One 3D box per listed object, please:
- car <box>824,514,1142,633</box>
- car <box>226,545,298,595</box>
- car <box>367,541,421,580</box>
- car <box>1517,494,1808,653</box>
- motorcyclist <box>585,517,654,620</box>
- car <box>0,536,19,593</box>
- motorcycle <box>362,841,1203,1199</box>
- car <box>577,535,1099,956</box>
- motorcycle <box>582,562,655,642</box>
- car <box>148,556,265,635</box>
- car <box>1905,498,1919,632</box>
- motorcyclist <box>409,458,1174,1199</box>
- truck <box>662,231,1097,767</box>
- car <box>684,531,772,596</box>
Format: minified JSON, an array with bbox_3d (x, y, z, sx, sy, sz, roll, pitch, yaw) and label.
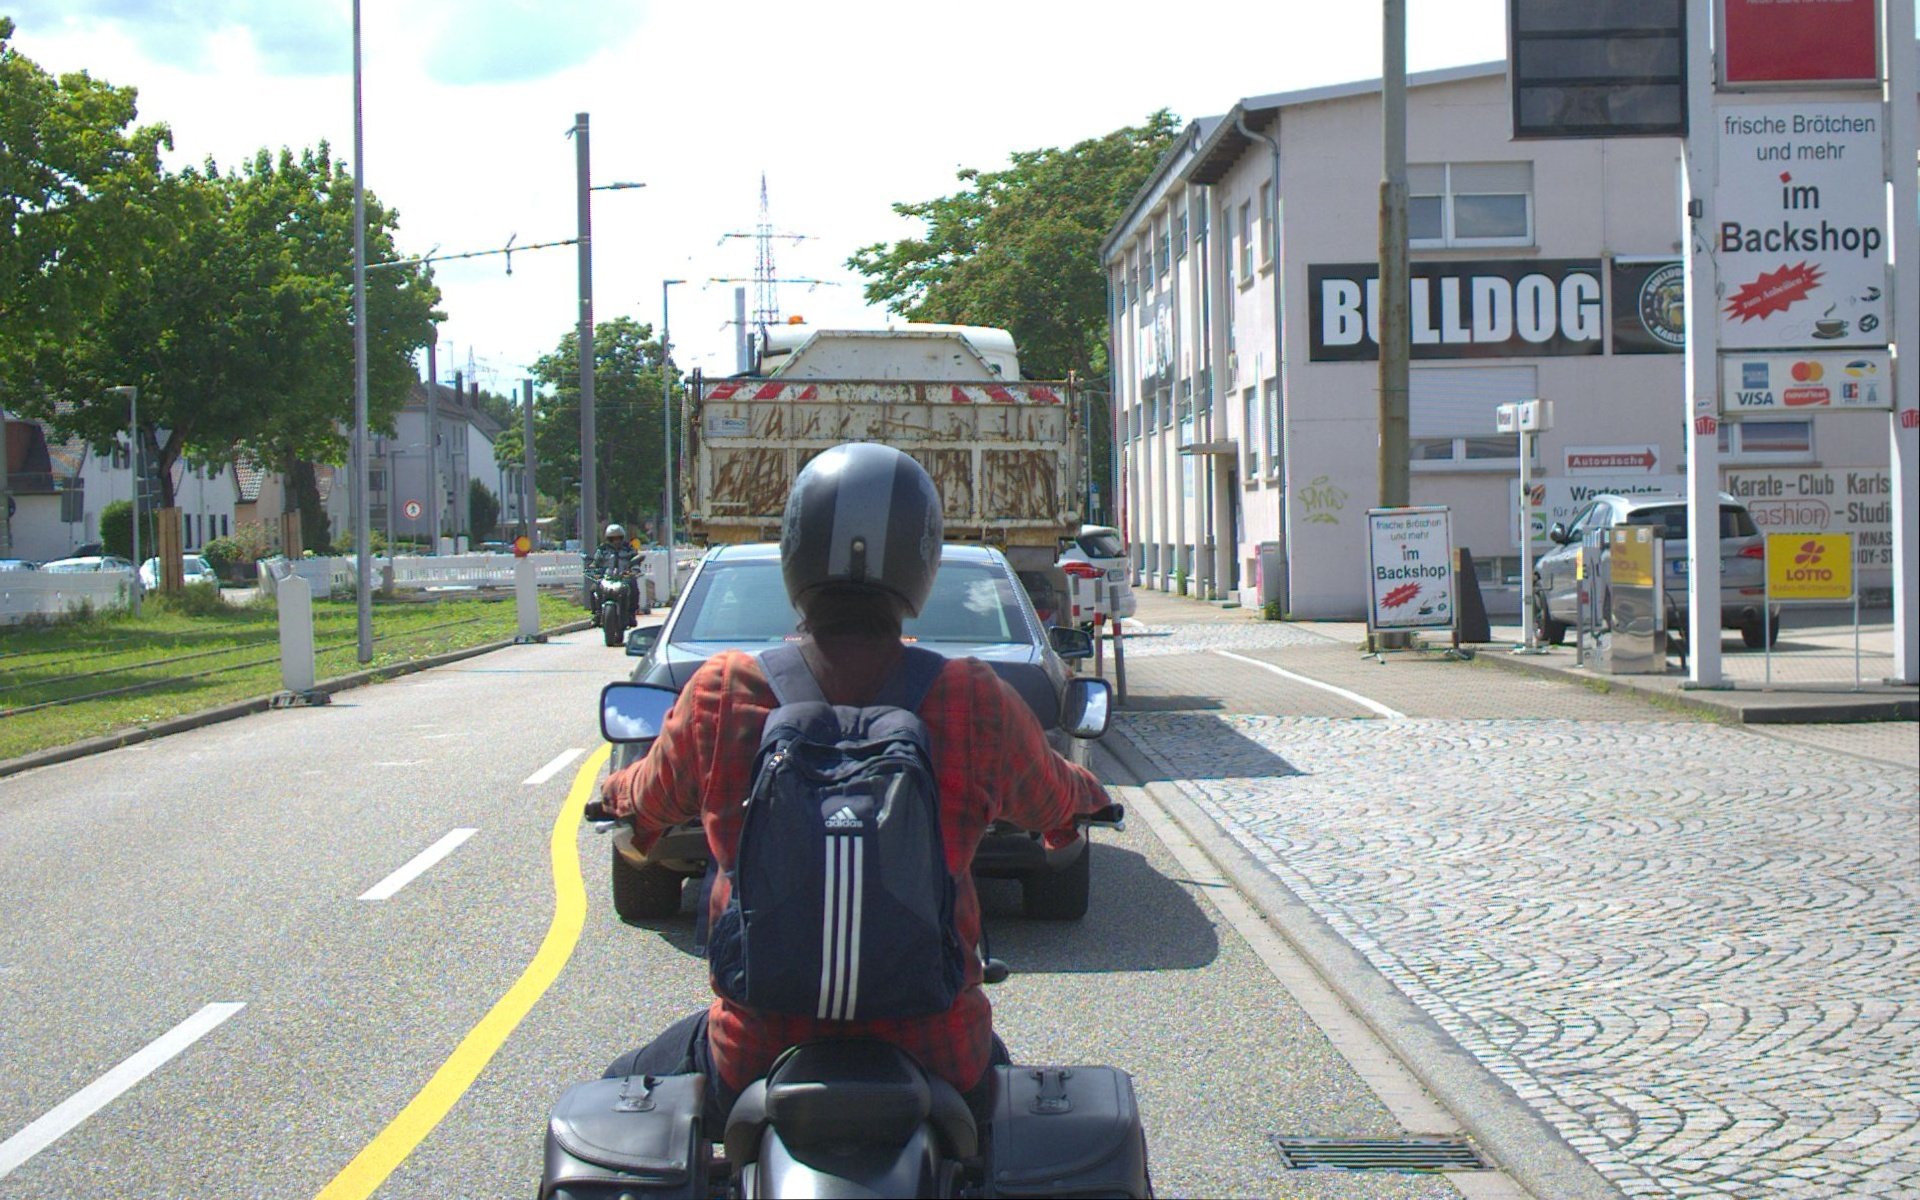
[{"bbox_3d":[0.343,-0.383,47.608,4.231,1.537,1.672,-1,1,6],"label":"car"},{"bbox_3d":[-25.413,-1.096,125.255,1.776,1.717,4.128,-1,1,0],"label":"car"},{"bbox_3d":[-26.429,-1.848,160.674,1.776,1.717,4.250,-1,1,0],"label":"car"},{"bbox_3d":[7.379,-0.306,36.532,1.667,1.557,4.245,-1,1,-8],"label":"car"},{"bbox_3d":[-4.636,-0.430,46.803,0.868,1.373,0.800,-1,1,-3],"label":"motorcyclist"},{"bbox_3d":[-30.040,-1.059,104.419,1.776,1.717,4.128,-1,1,0],"label":"car"},{"bbox_3d":[-0.214,0.954,5.350,0.979,0.894,2.653,-1,1,-1],"label":"motorcycle"},{"bbox_3d":[-0.455,0.479,14.161,1.823,1.447,4.000,1,1,-1],"label":"car"},{"bbox_3d":[-4.634,0.013,46.813,0.868,1.017,2.245,-1,1,-3],"label":"motorcycle"},{"bbox_3d":[-17.494,-0.129,79.973,1.776,1.717,4.128,-1,1,0],"label":"car"},{"bbox_3d":[11.734,-0.381,37.101,1.806,1.498,3.834,-1,1,-3],"label":"car"},{"bbox_3d":[-0.218,0.612,5.039,0.979,1.597,1.088,-1,1,-1],"label":"motorcyclist"},{"bbox_3d":[-0.544,-0.718,25.467,2.638,3.285,8.057,-1,1,-1],"label":"truck"},{"bbox_3d":[-5.600,-0.906,83.425,1.823,1.447,4.324,-2,1,-1],"label":"car"}]
